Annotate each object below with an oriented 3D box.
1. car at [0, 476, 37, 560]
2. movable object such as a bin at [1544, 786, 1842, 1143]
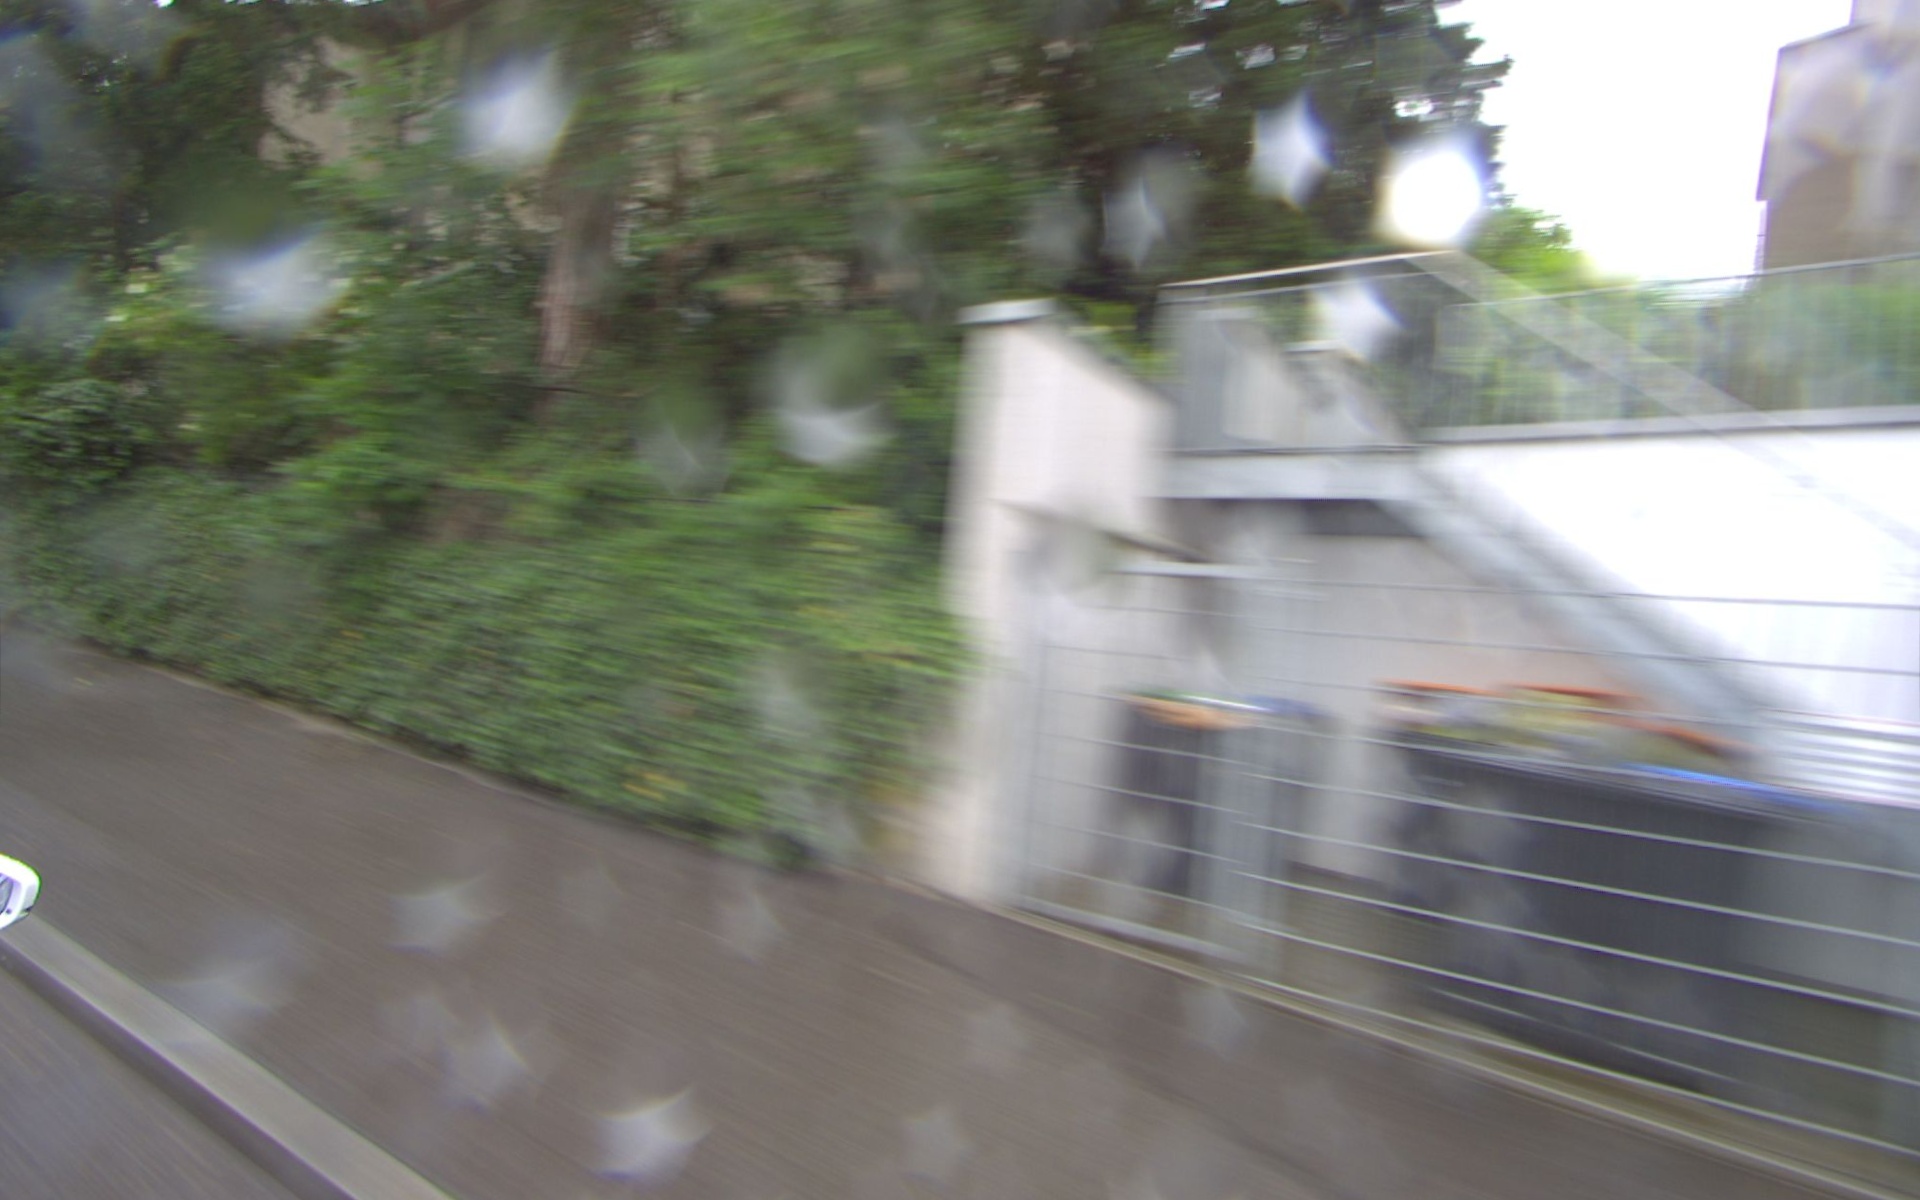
[{"bbox_3d":[-19.206,-1.698,17.552,1.872,1.495,4.149,7,1,29],"label":"car"},{"bbox_3d":[2.704,1.283,3.820,0.734,0.952,0.876,7,0,31],"label":"movable object such as a bin"}]
